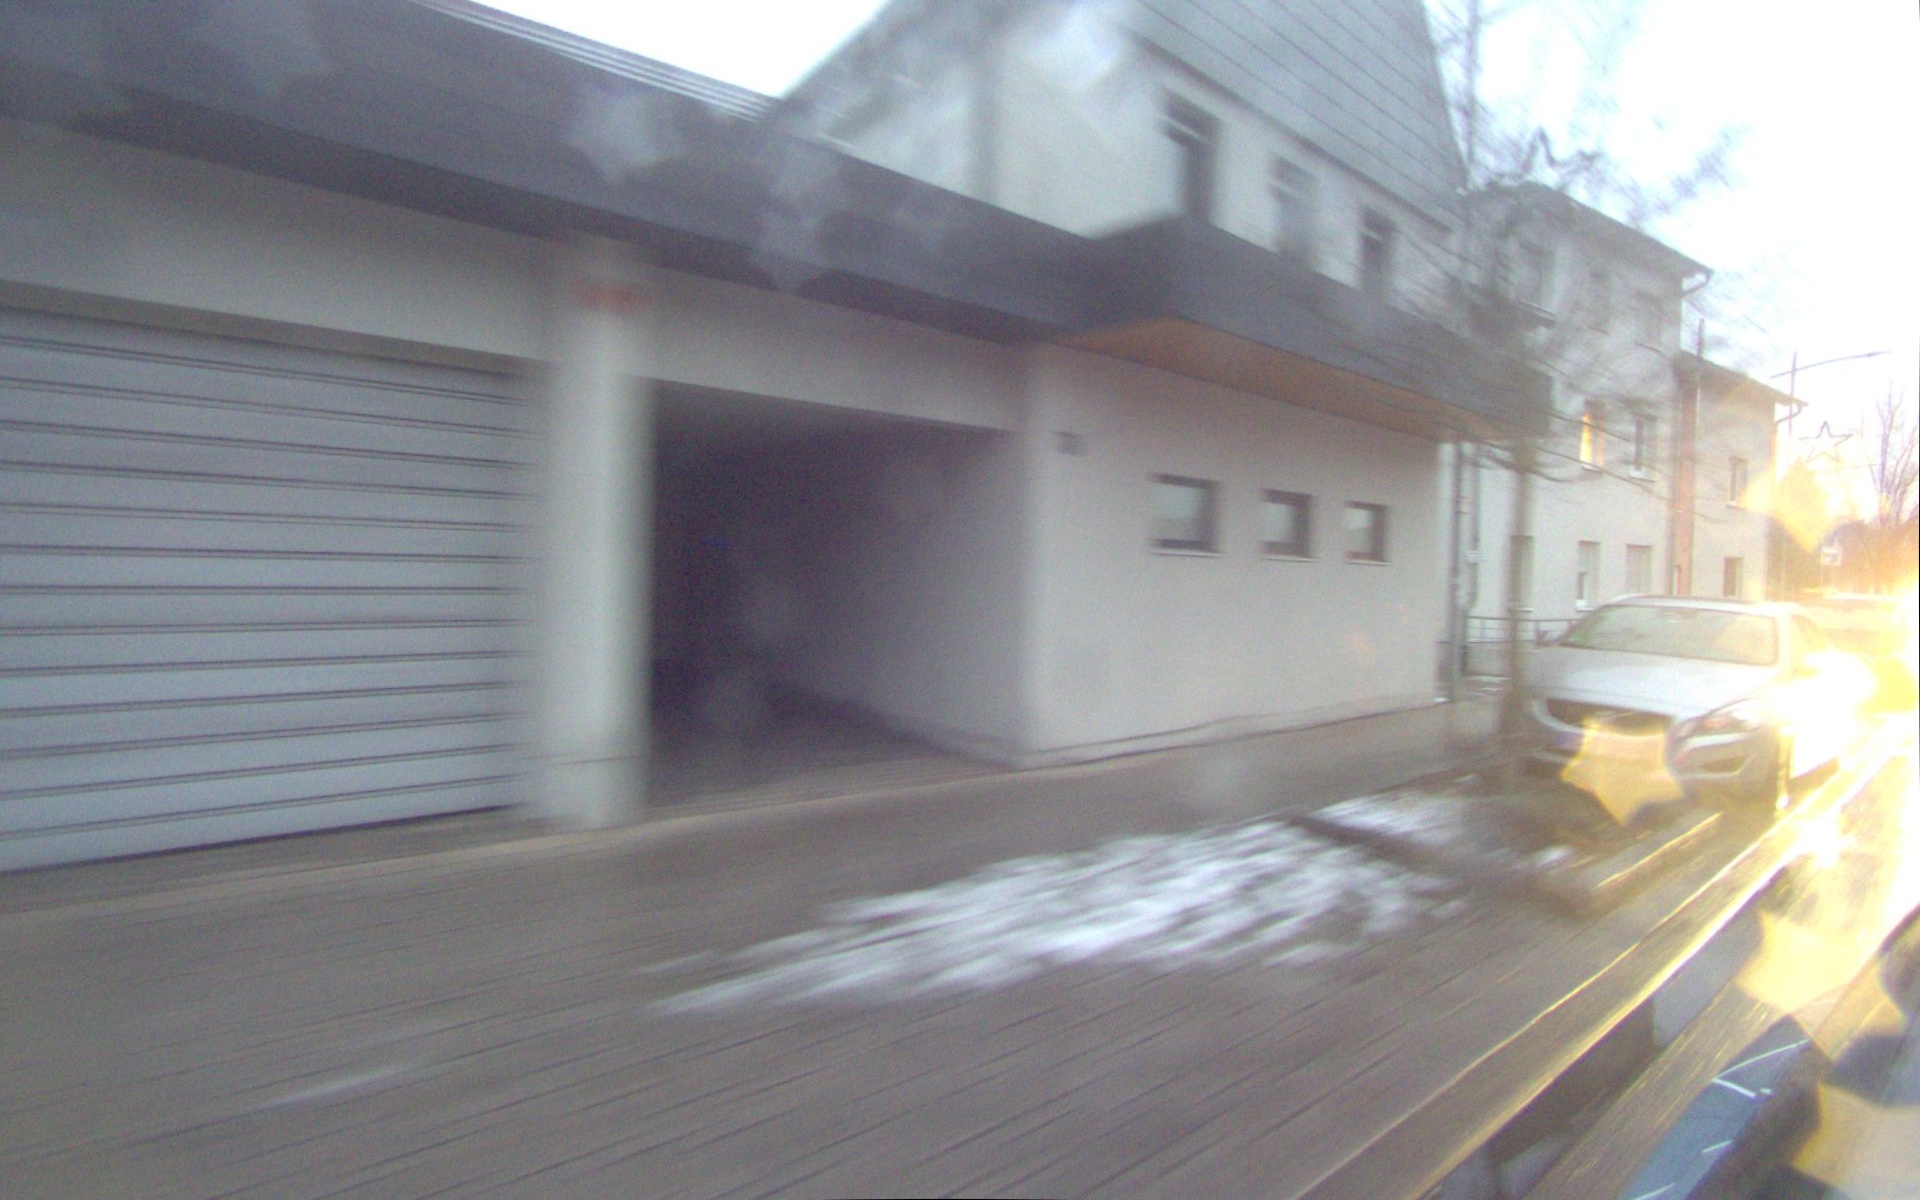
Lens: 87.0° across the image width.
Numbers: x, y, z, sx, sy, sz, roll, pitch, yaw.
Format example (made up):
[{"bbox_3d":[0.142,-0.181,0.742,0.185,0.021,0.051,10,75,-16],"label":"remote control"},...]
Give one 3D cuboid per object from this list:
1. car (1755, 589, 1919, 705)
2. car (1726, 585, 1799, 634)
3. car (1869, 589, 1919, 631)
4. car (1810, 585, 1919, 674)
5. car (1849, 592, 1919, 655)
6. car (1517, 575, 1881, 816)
[{"bbox_3d":[14.033,0.628,15.835,1.957,1.552,4.928,-1,0,45],"label":"car"},{"bbox_3d":[28.853,0.285,36.502,1.802,1.571,4.249,3,2,36],"label":"car"},{"bbox_3d":[37.844,0.374,40.633,1.808,1.583,4.236,3,3,44],"label":"car"},{"bbox_3d":[18.733,0.523,20.690,1.666,1.595,4.424,3,2,45],"label":"car"},{"bbox_3d":[24.419,0.571,26.401,1.703,1.469,4.126,4,2,43],"label":"car"},{"bbox_3d":[6.414,0.606,8.596,4.166,1.472,1.655,0,4,-43],"label":"car"}]
